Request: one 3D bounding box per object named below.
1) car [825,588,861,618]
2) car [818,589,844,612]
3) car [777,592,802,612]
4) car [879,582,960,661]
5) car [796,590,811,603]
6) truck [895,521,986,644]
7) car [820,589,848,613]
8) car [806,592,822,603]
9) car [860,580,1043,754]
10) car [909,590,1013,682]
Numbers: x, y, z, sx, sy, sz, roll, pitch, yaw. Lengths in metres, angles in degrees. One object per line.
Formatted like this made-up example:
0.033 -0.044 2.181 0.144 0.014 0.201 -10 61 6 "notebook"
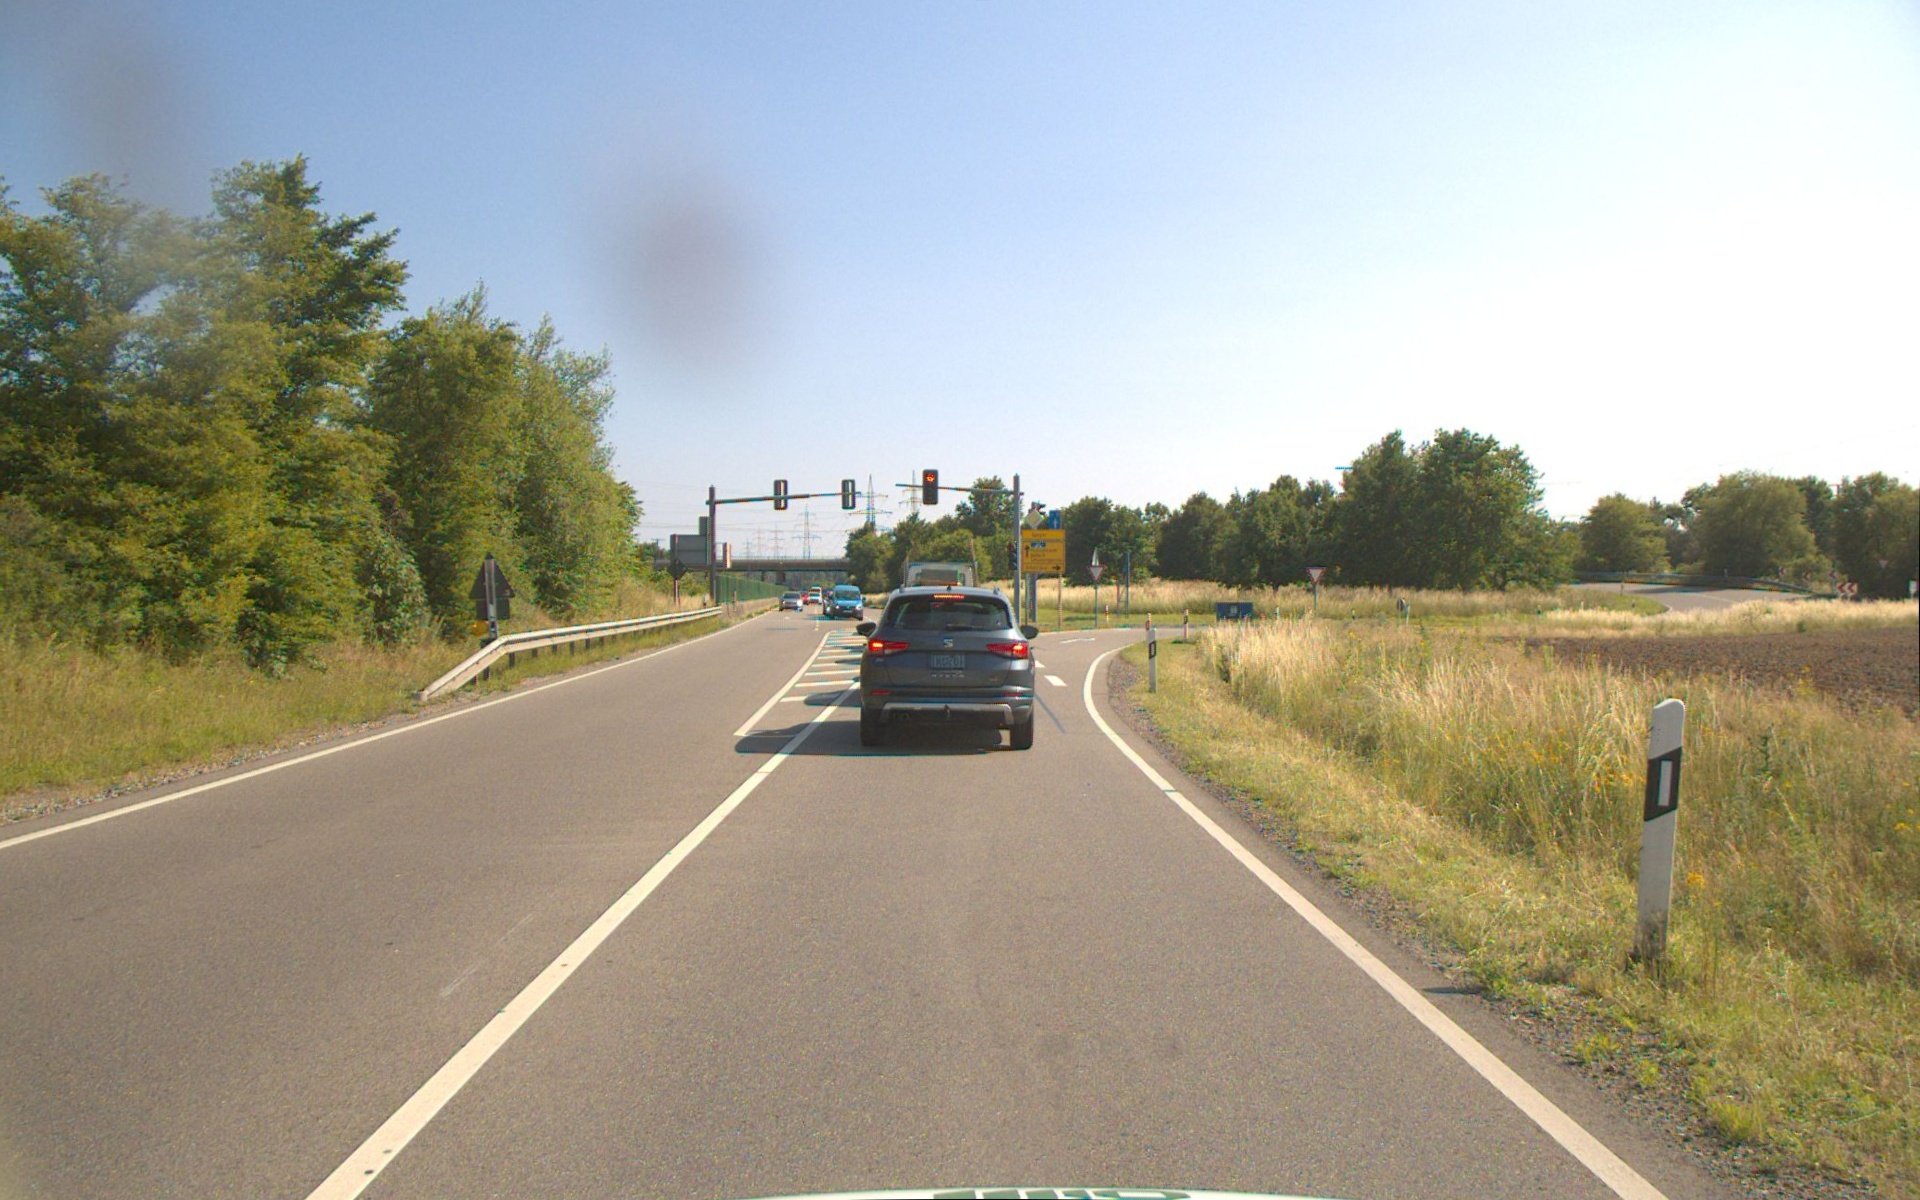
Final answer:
-6.312 0.142 88.993 1.781 1.567 3.995 0 1 -6 "car"
-8.465 0.014 108.094 1.651 1.404 3.529 1 1 -5 "car"
-12.886 0.114 124.964 1.789 1.456 3.995 0 1 -6 "car"
-0.951 0.440 37.694 1.750 1.705 3.998 0 1 -3 "car"
-17.558 -0.428 185.433 1.728 1.456 3.995 0 1 -6 "car"
-0.563 -0.433 45.355 2.290 3.120 5.808 1 0 -1 "truck"
-7.750 0.051 101.668 1.651 1.404 3.529 1 1 -5 "car"
-17.336 -0.310 196.185 1.728 1.357 3.995 0 1 -6 "car"
-0.158 0.618 17.817 1.750 1.657 3.998 0 1 -2 "car"
-0.039 0.608 30.578 1.750 1.570 3.998 0 1 -3 "car"
